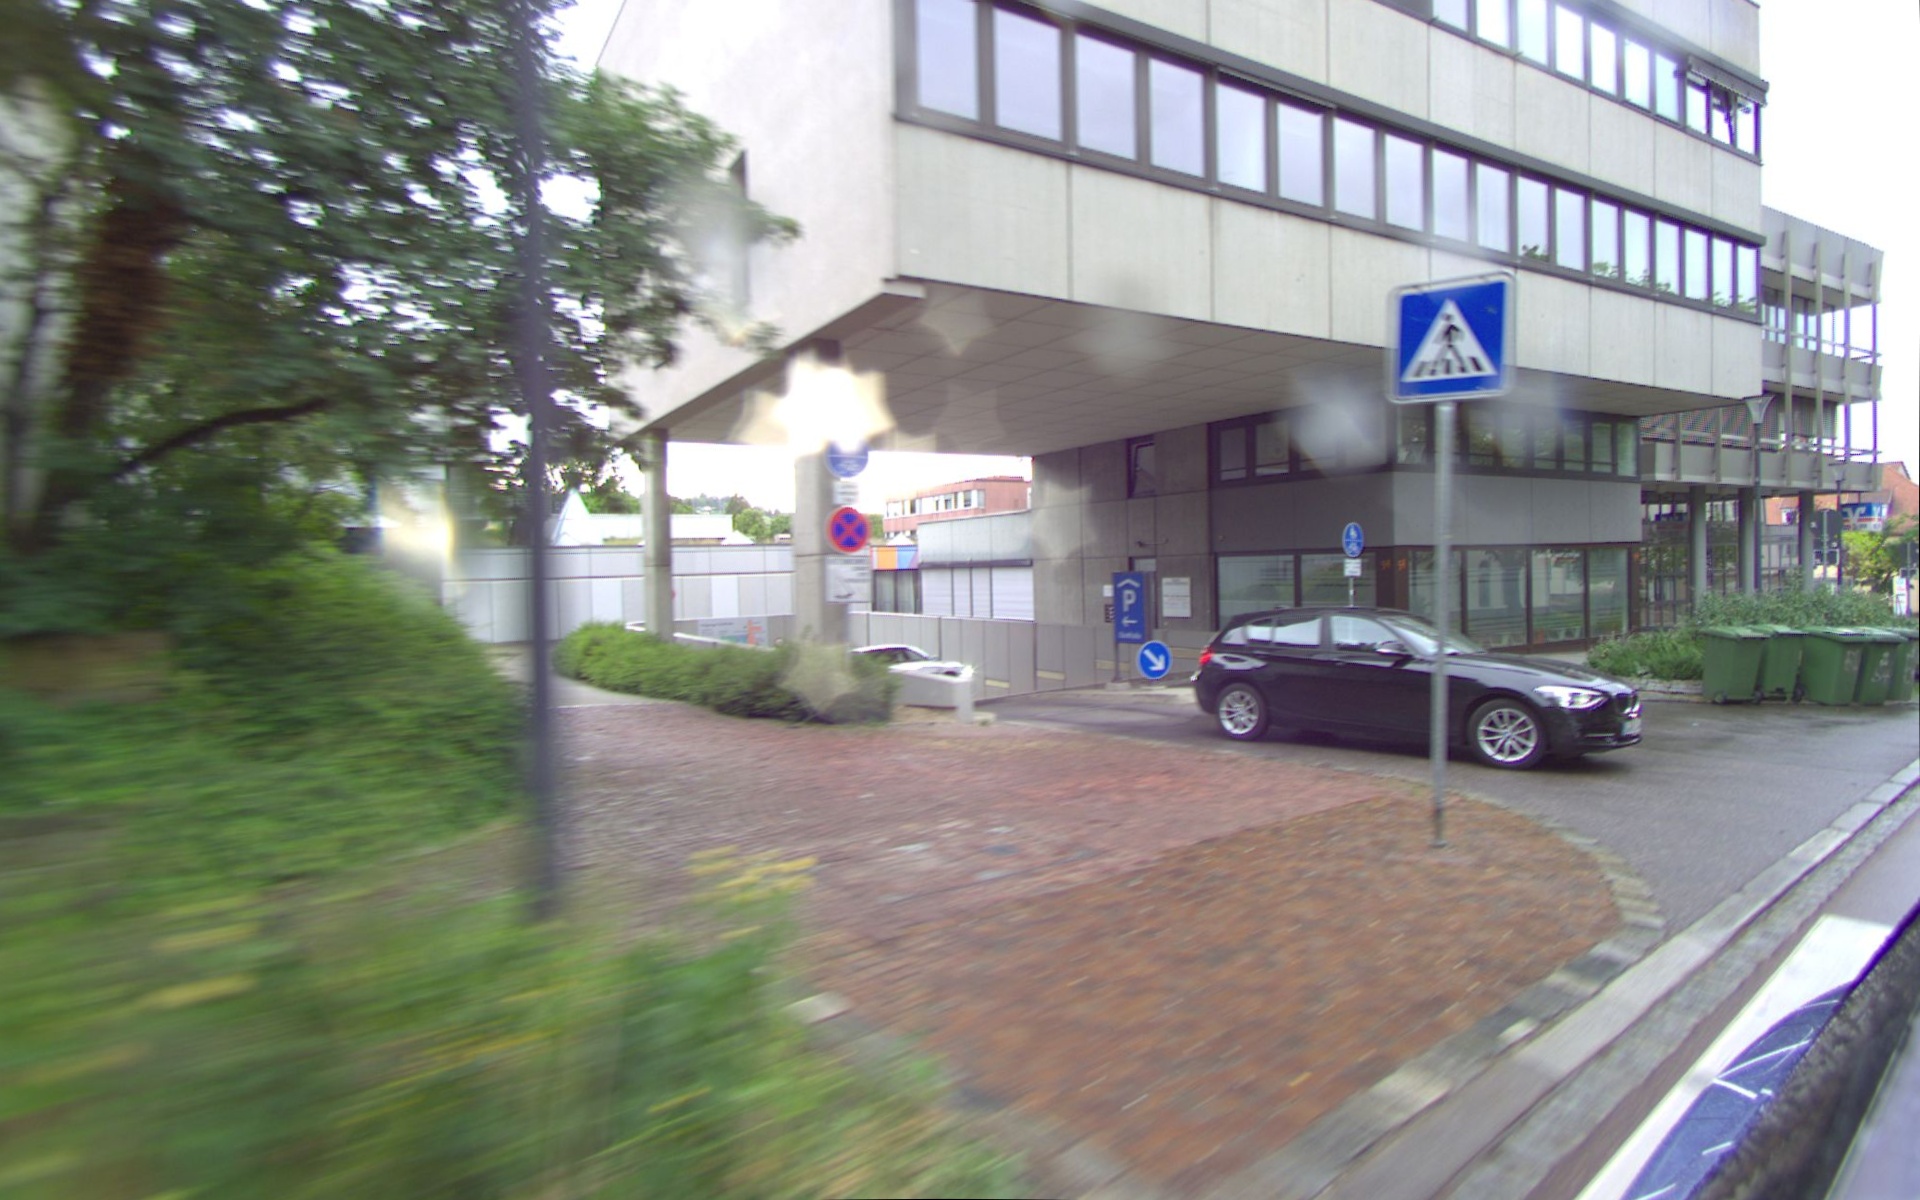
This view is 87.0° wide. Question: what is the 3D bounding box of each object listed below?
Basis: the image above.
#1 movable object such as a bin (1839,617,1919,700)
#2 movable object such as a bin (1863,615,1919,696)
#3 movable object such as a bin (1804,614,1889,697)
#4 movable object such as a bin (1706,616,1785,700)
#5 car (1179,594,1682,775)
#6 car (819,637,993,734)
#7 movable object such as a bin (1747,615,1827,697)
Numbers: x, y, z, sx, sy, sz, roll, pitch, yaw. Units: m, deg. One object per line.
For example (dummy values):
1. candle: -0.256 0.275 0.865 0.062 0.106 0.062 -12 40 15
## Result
1. movable object such as a bin: 13.318 0.827 14.640 0.559 1.121 0.707 0 2 -13
2. movable object such as a bin: 14.063 0.817 15.099 0.559 1.138 0.707 -1 2 -24
3. movable object such as a bin: 12.675 0.781 14.488 0.559 1.124 0.707 0 2 -15
4. movable object such as a bin: 11.146 0.809 14.372 0.561 1.116 0.705 0 1 3
5. car: 4.527 0.694 10.292 1.808 1.435 4.290 0 -1 -41
6. car: -1.149 1.532 19.396 1.709 1.460 4.004 -1 0 -30
7. movable object such as a bin: 11.894 0.795 14.575 0.561 1.116 0.705 0 1 3
